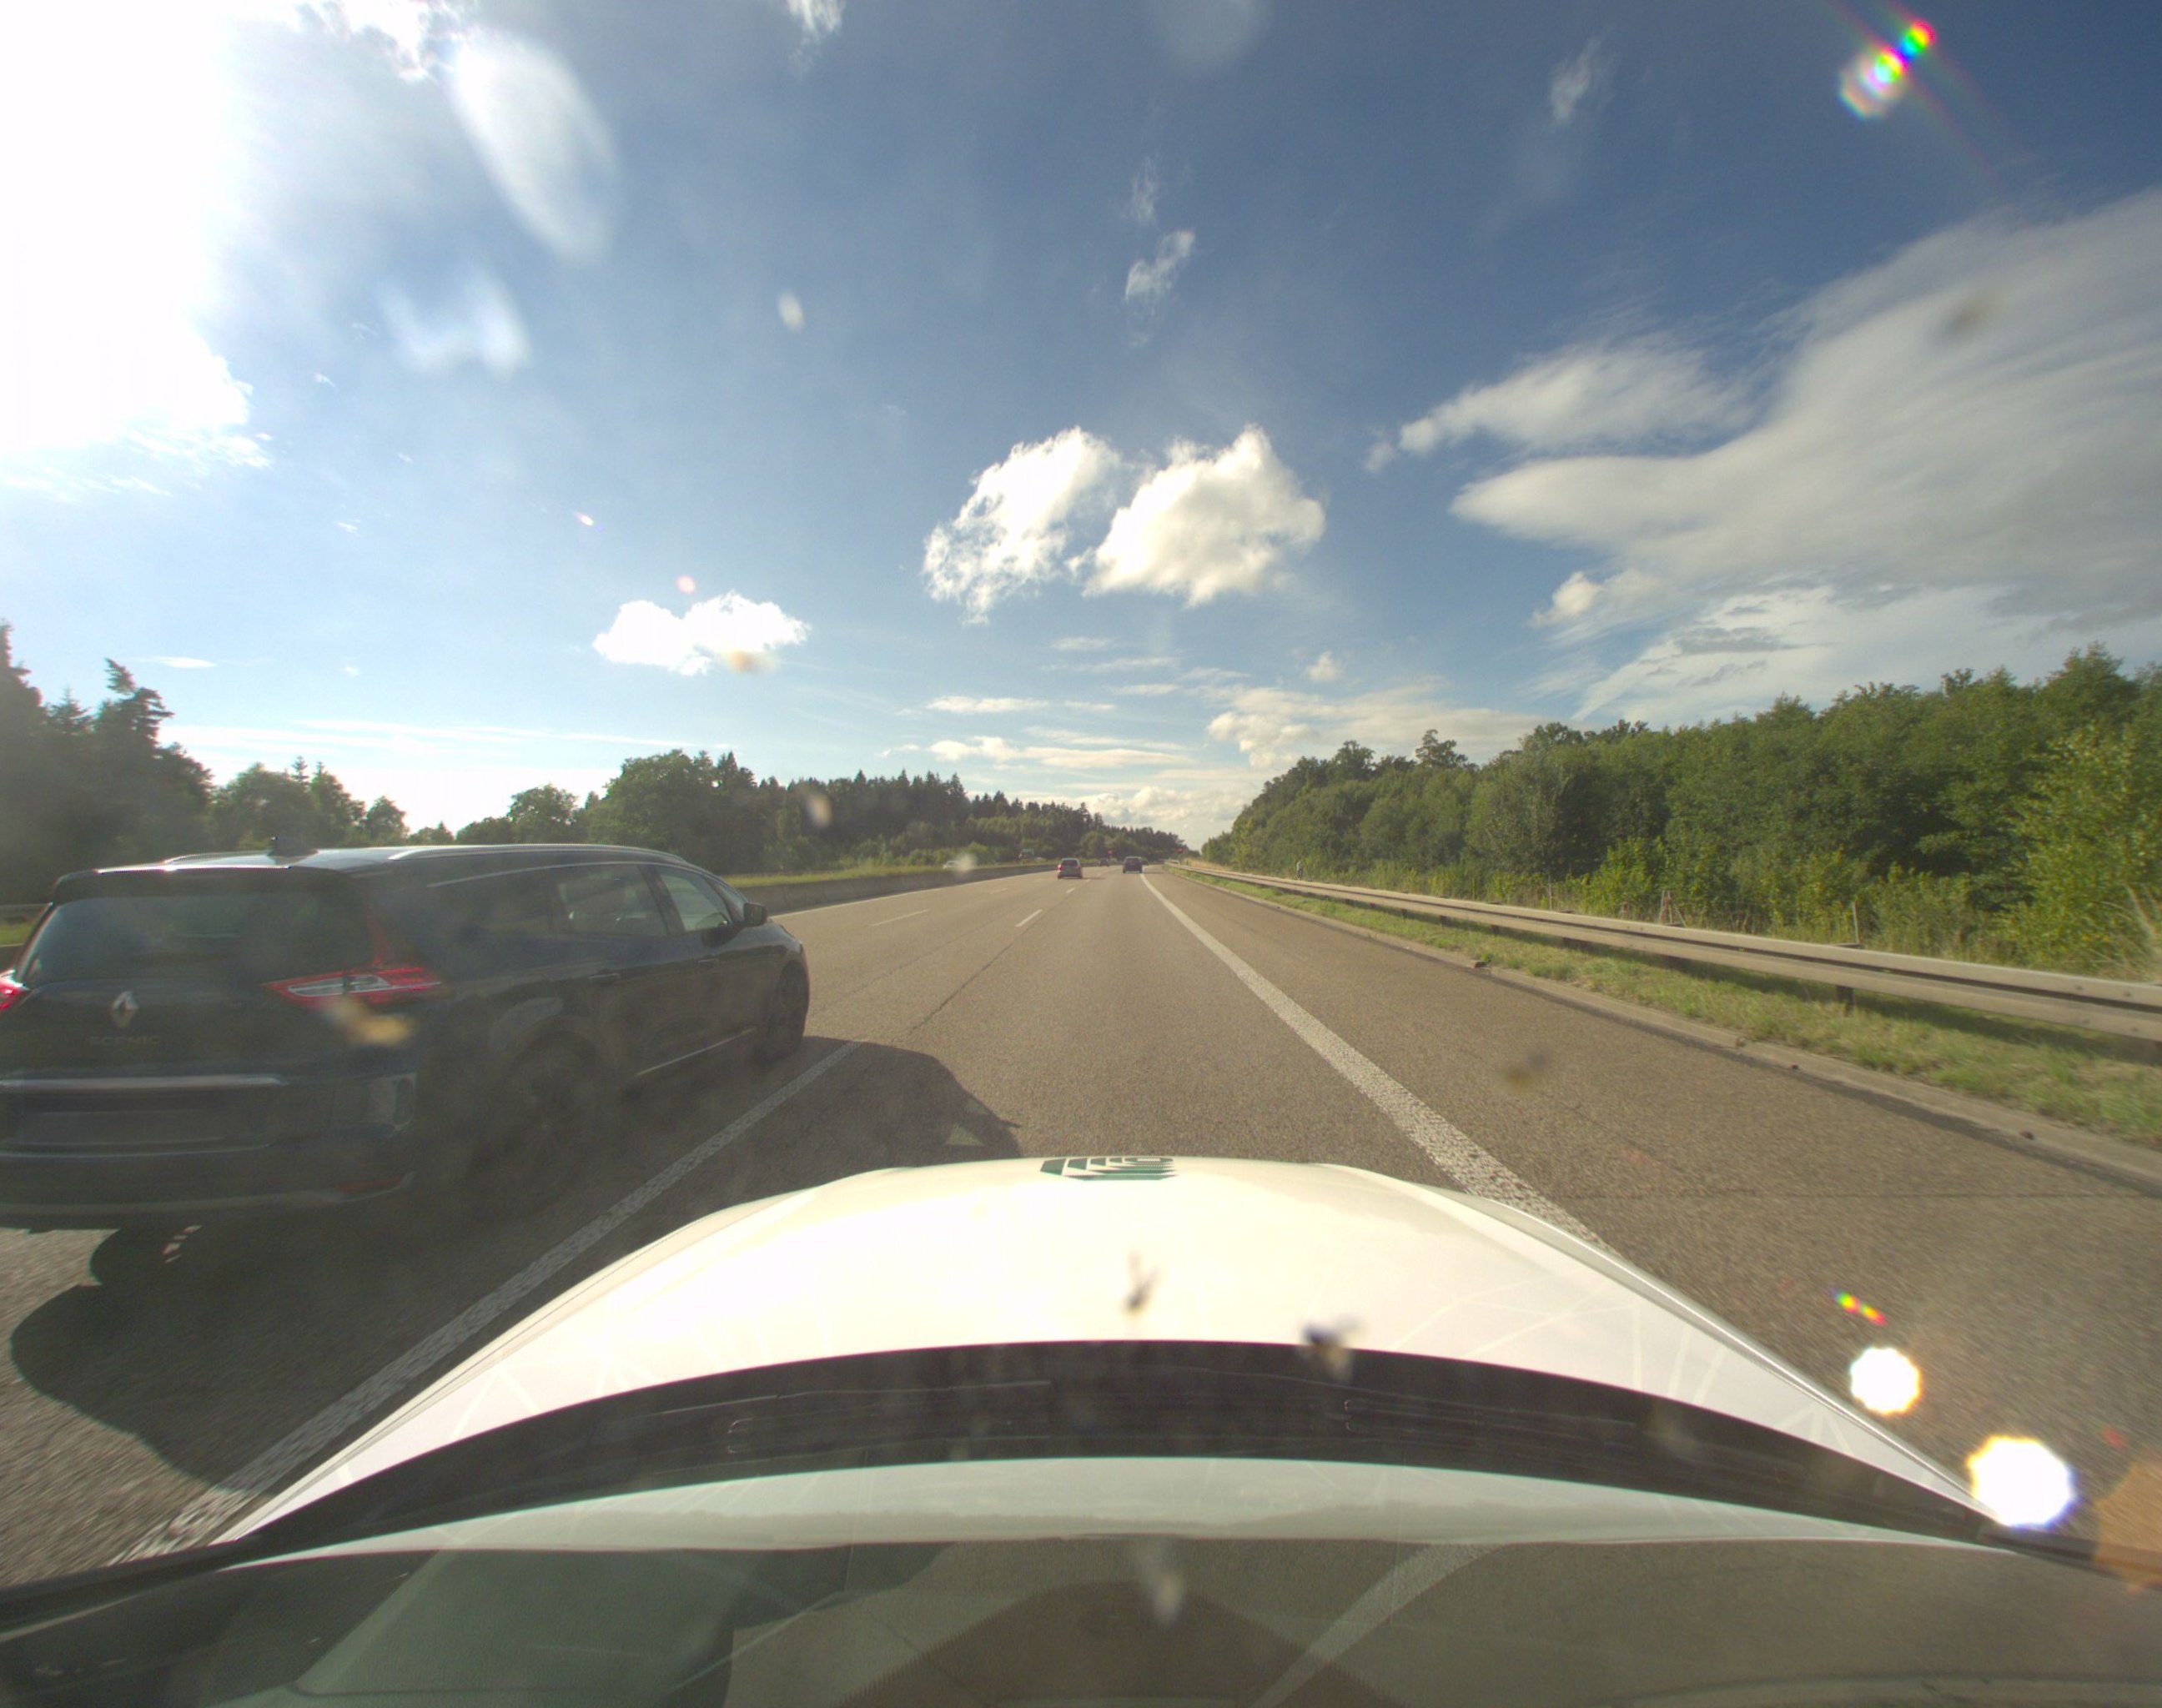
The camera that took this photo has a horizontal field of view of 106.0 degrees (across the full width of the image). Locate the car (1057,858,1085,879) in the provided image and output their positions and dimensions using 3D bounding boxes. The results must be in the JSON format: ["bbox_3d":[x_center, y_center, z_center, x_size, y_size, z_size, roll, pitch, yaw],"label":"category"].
[{"bbox_3d":[-0.735,1.086,62.474,1.866,1.497,3.882,-1,0,3],"label":"car"}]

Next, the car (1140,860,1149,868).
[{"bbox_3d":[14.790,2.386,188.670,1.802,1.706,4.008,-1,0,7],"label":"car"}]

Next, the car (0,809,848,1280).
[{"bbox_3d":[-3.265,0.716,5.263,1.985,1.707,4.532,-1,0,3],"label":"car"}]

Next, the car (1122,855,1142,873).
[{"bbox_3d":[5.048,0.968,80.917,1.866,1.675,3.892,-1,0,2],"label":"car"}]

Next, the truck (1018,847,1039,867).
[{"bbox_3d":[-10.806,0.588,168.261,3.360,4.009,5.870,-1,-1,4],"label":"truck"}]

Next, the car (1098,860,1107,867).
[{"bbox_3d":[4.323,1.941,165.616,1.867,1.497,3.881,-1,0,1],"label":"car"}]
